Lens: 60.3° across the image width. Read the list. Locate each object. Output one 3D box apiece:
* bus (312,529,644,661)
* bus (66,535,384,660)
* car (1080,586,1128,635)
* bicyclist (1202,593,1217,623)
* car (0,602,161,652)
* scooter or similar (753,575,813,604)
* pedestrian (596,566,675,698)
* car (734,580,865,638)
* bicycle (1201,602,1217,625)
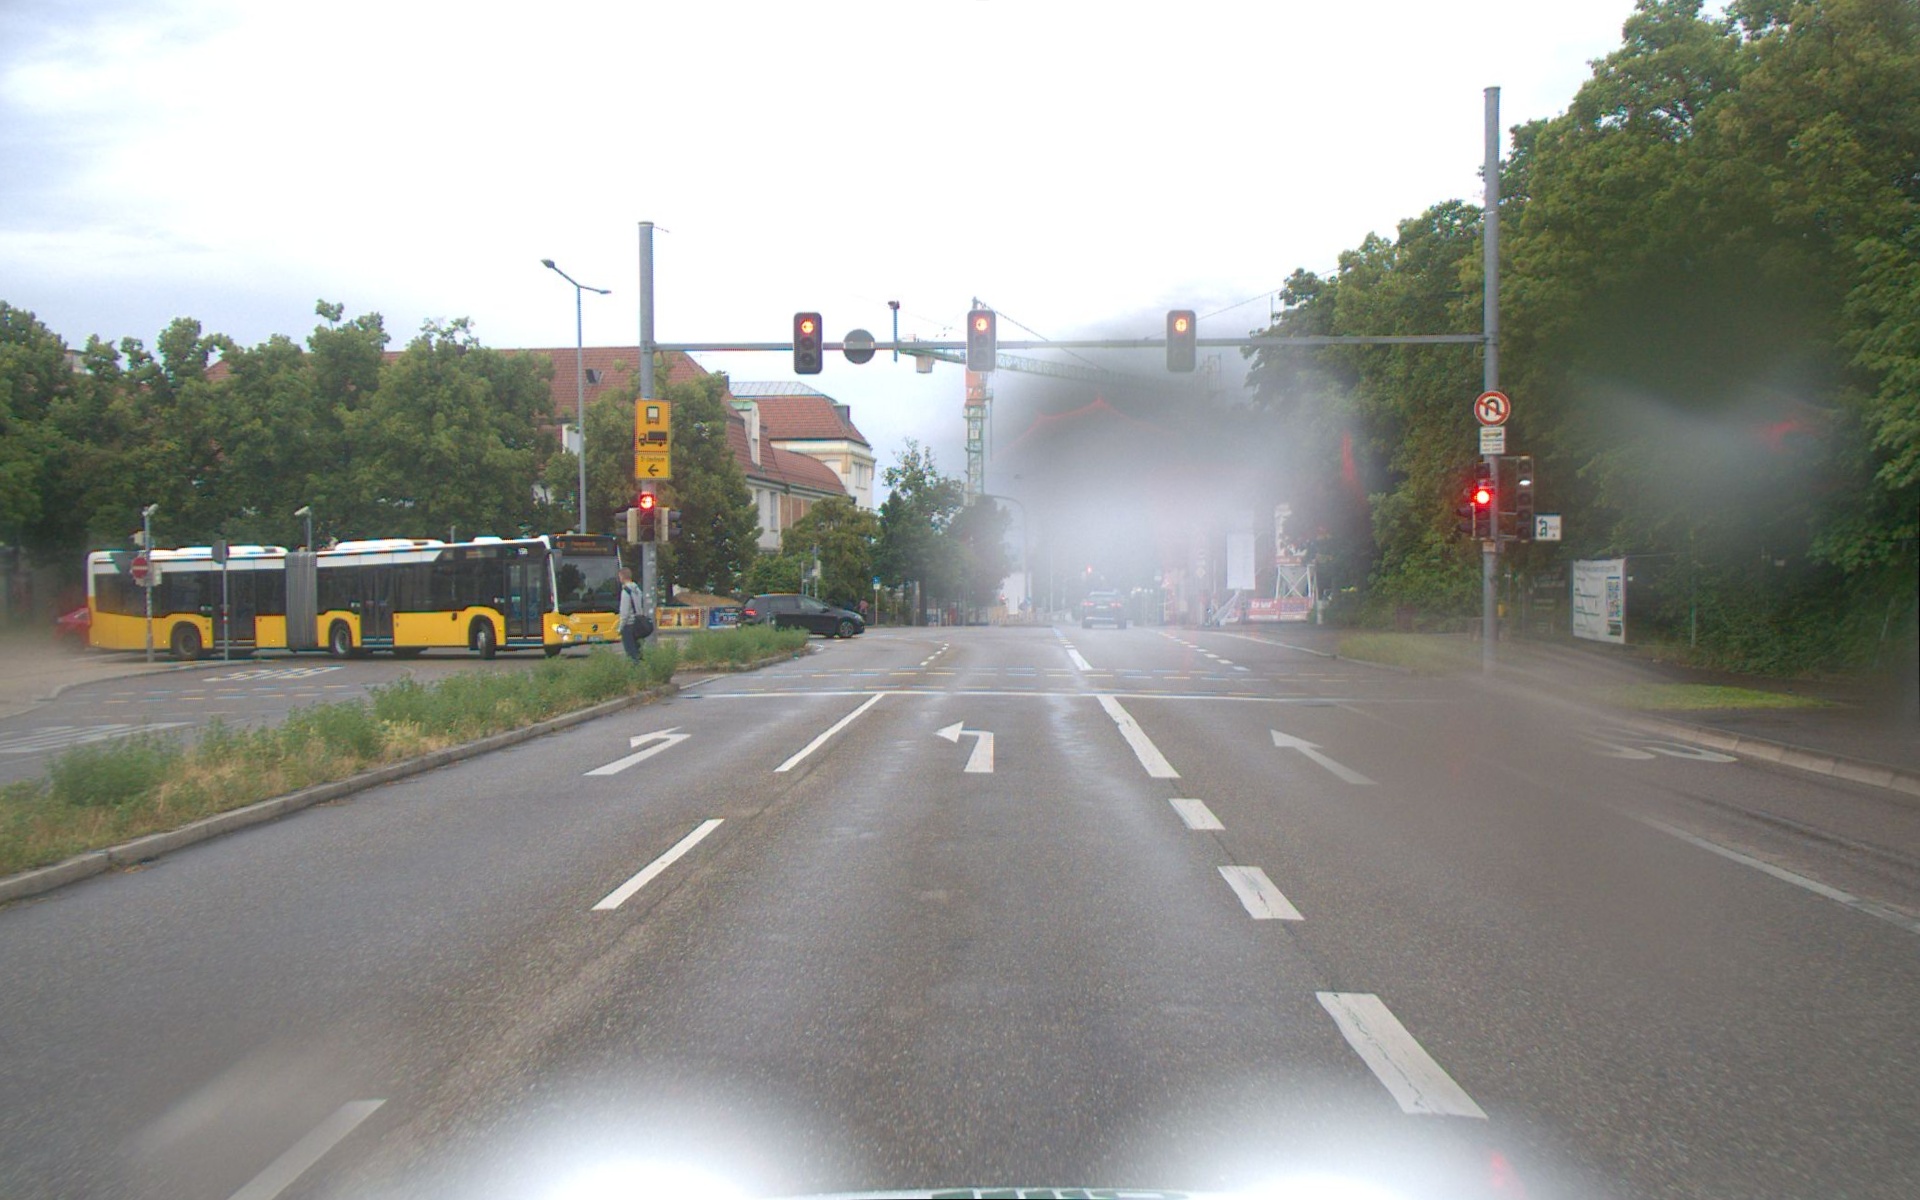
[{"bbox_3d":[-12.825,-0.087,43.516,9.553,3.157,2.889,-1,0,34],"label":"bus"},{"bbox_3d":[-21.161,-0.044,47.665,8.366,3.365,2.900,-1,0,15],"label":"bus"},{"bbox_3d":[6.471,0.512,74.841,1.904,2.056,4.551,1,-2,2],"label":"car"},{"bbox_3d":[13.594,0.423,90.044,0.705,1.591,1.143,1,-1,4],"label":"bicyclist"},{"bbox_3d":[-27.750,0.852,51.784,4.478,1.450,2.000,1,-2,2],"label":"car"},{"bbox_3d":[-9.318,-0.557,87.190,3.024,1.465,0.949,-1,0,0],"label":"scooter or similar"},{"bbox_3d":[-5.242,0.505,26.767,0.920,2.048,0.848,-3,0,7],"label":"pedestrian"},{"bbox_3d":[-5.192,0.324,53.258,3.921,1.736,1.992,2,-2,-16],"label":"car"},{"bbox_3d":[13.580,0.737,90.070,0.705,1.214,1.756,1,-1,4],"label":"bicycle"}]
